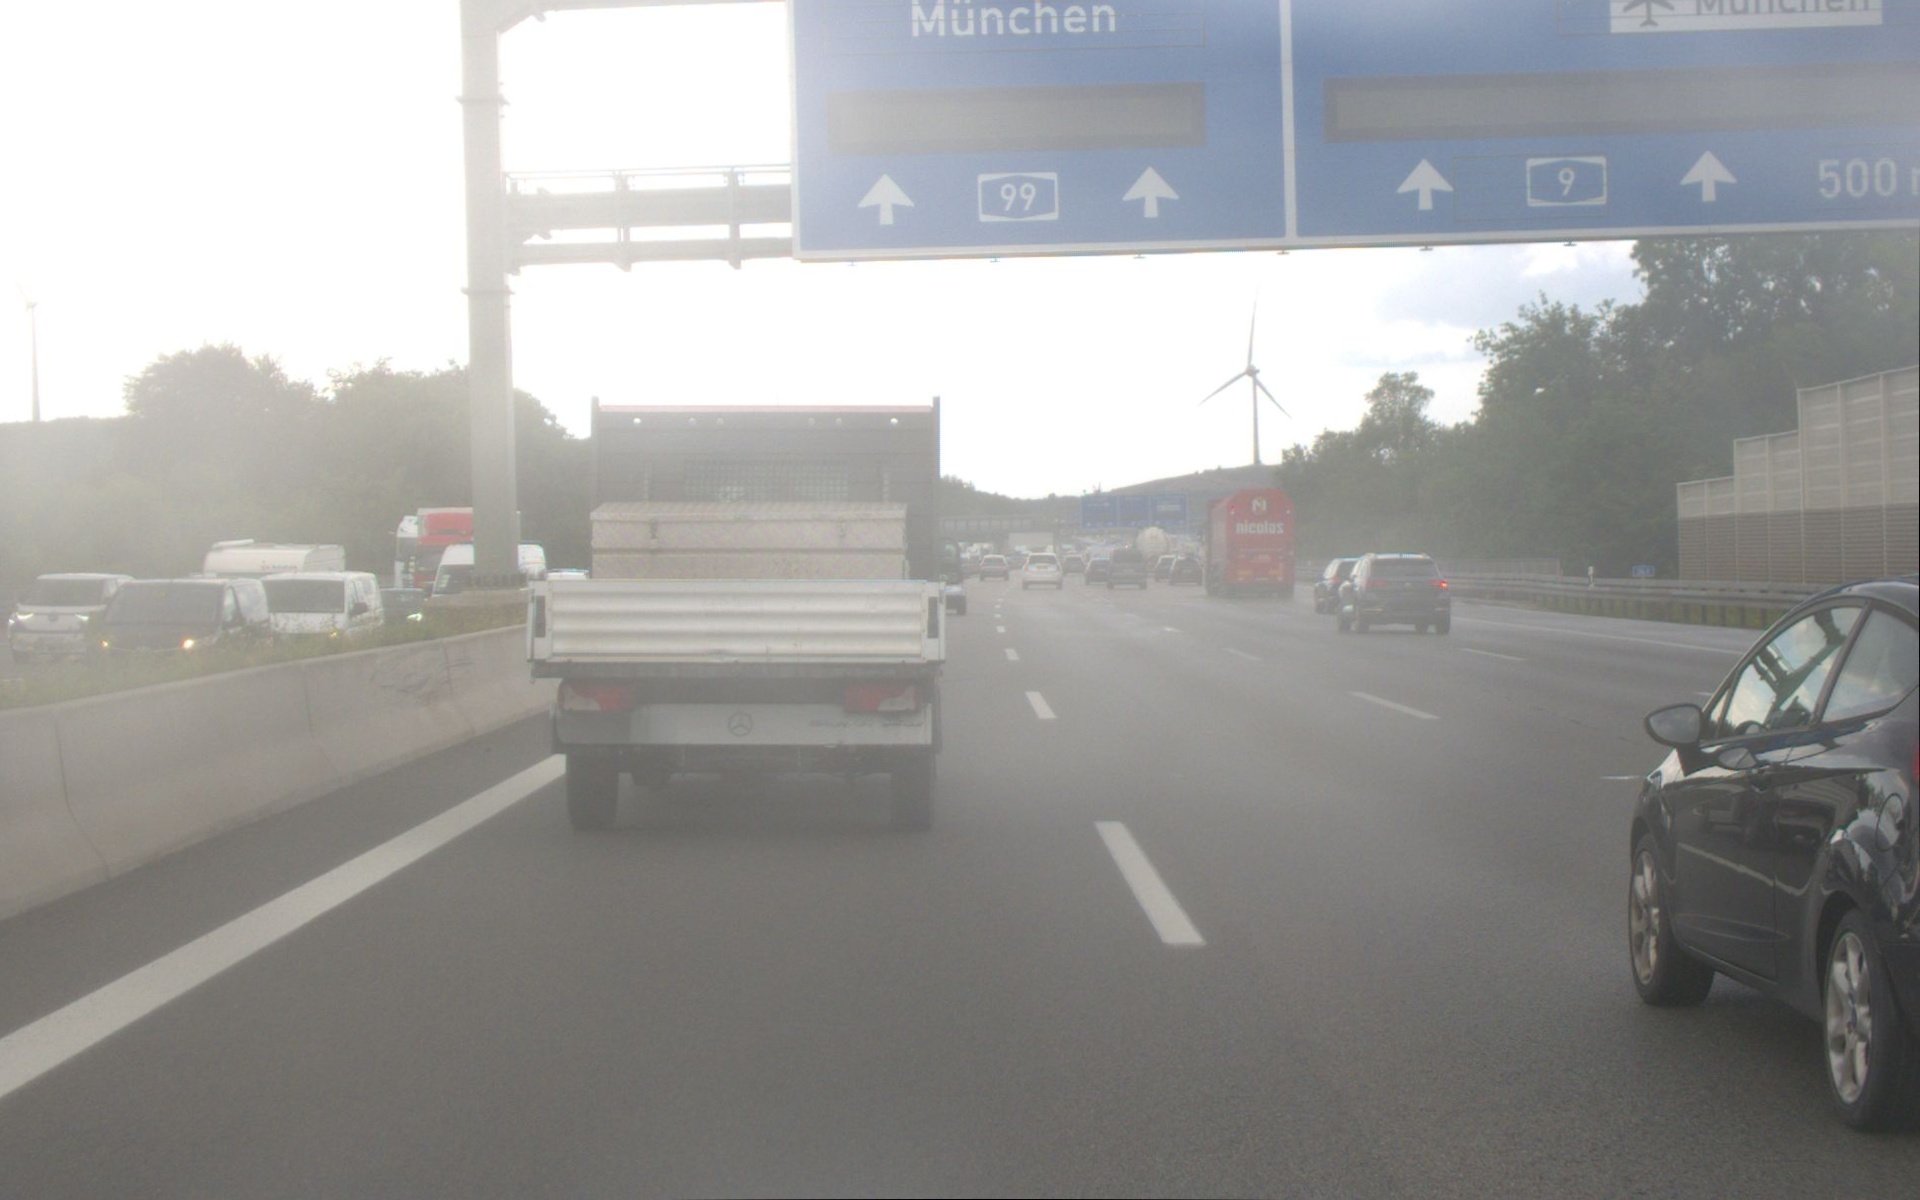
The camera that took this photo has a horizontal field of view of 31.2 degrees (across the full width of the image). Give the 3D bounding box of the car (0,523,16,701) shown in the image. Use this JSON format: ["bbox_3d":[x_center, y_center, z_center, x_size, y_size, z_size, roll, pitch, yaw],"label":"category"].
[{"bbox_3d":[-15.238,0.224,47.890,2.048,2.643,7.736,-1,1,0],"label":"car"}]

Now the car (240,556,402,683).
[{"bbox_3d":[-10.979,0.299,59.402,1.818,2.070,5.375,-1,1,0],"label":"car"}]

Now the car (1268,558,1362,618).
[{"bbox_3d":[9.497,-0.337,92.351,1.882,1.555,4.433,-1,1,-2],"label":"car"}]

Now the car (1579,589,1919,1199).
[{"bbox_3d":[3.057,0.688,10.018,1.717,1.412,4.278,0,1,0],"label":"car"}]

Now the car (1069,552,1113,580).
[{"bbox_3d":[7.315,-1.905,192.127,1.967,1.555,4.434,-1,1,-4],"label":"car"}]

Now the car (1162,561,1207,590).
[{"bbox_3d":[12.351,-1.348,189.488,1.968,1.555,4.433,-1,1,-3],"label":"car"}]

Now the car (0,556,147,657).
[{"bbox_3d":[-18.889,0.116,73.444,1.982,2.070,4.478,-1,1,0],"label":"car"}]

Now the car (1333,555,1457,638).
[{"bbox_3d":[8.433,-0.084,66.898,1.882,1.537,4.433,-1,1,1],"label":"car"}]

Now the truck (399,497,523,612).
[{"bbox_3d":[-18.628,-1.690,129.082,2.798,4.098,12.295,-1,1,0],"label":"truck"}]

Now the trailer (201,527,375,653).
[{"bbox_3d":[-14.799,-0.253,76.188,2.342,2.644,7.184,-1,1,1],"label":"trailer"}]

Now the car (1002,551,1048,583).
[{"bbox_3d":[3.167,-1.618,168.204,1.968,1.555,4.433,-1,1,-2],"label":"car"}]

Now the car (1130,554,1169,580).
[{"bbox_3d":[11.721,-2.027,212.917,1.968,1.555,4.433,-1,1,-3],"label":"car"}]

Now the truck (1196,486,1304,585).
[{"bbox_3d":[11.118,-2.540,132.985,3.152,3.589,12.700,1,1,0],"label":"truck"}]

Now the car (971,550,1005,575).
[{"bbox_3d":[1.798,-2.442,221.854,1.968,1.555,4.433,-1,1,-2],"label":"car"}]

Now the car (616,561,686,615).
[{"bbox_3d":[-10.601,-0.439,118.108,1.894,1.794,5.842,-1,1,0],"label":"car"}]

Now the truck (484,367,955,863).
[{"bbox_3d":[-1.217,-0.028,20.494,2.307,2.431,7.149,0,2,0],"label":"truck"}]

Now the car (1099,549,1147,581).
[{"bbox_3d":[8.015,-1.729,169.365,1.968,1.555,4.433,-1,1,-3],"label":"car"}]

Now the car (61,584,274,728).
[{"bbox_3d":[-11.284,0.744,49.336,1.818,1.898,5.424,-1,1,0],"label":"car"}]

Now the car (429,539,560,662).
[{"bbox_3d":[-10.619,-0.034,78.948,2.024,2.669,7.311,-1,1,0],"label":"car"}]

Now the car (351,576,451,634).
[{"bbox_3d":[-14.567,0.116,89.760,1.818,1.419,4.478,1,1,1],"label":"car"}]

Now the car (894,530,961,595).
[{"bbox_3d":[-0.834,-0.994,90.351,1.717,1.618,4.279,0,2,0],"label":"car"}]

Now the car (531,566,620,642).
[{"bbox_3d":[-10.276,0.086,92.150,1.818,1.945,5.223,-1,1,0],"label":"car"}]
